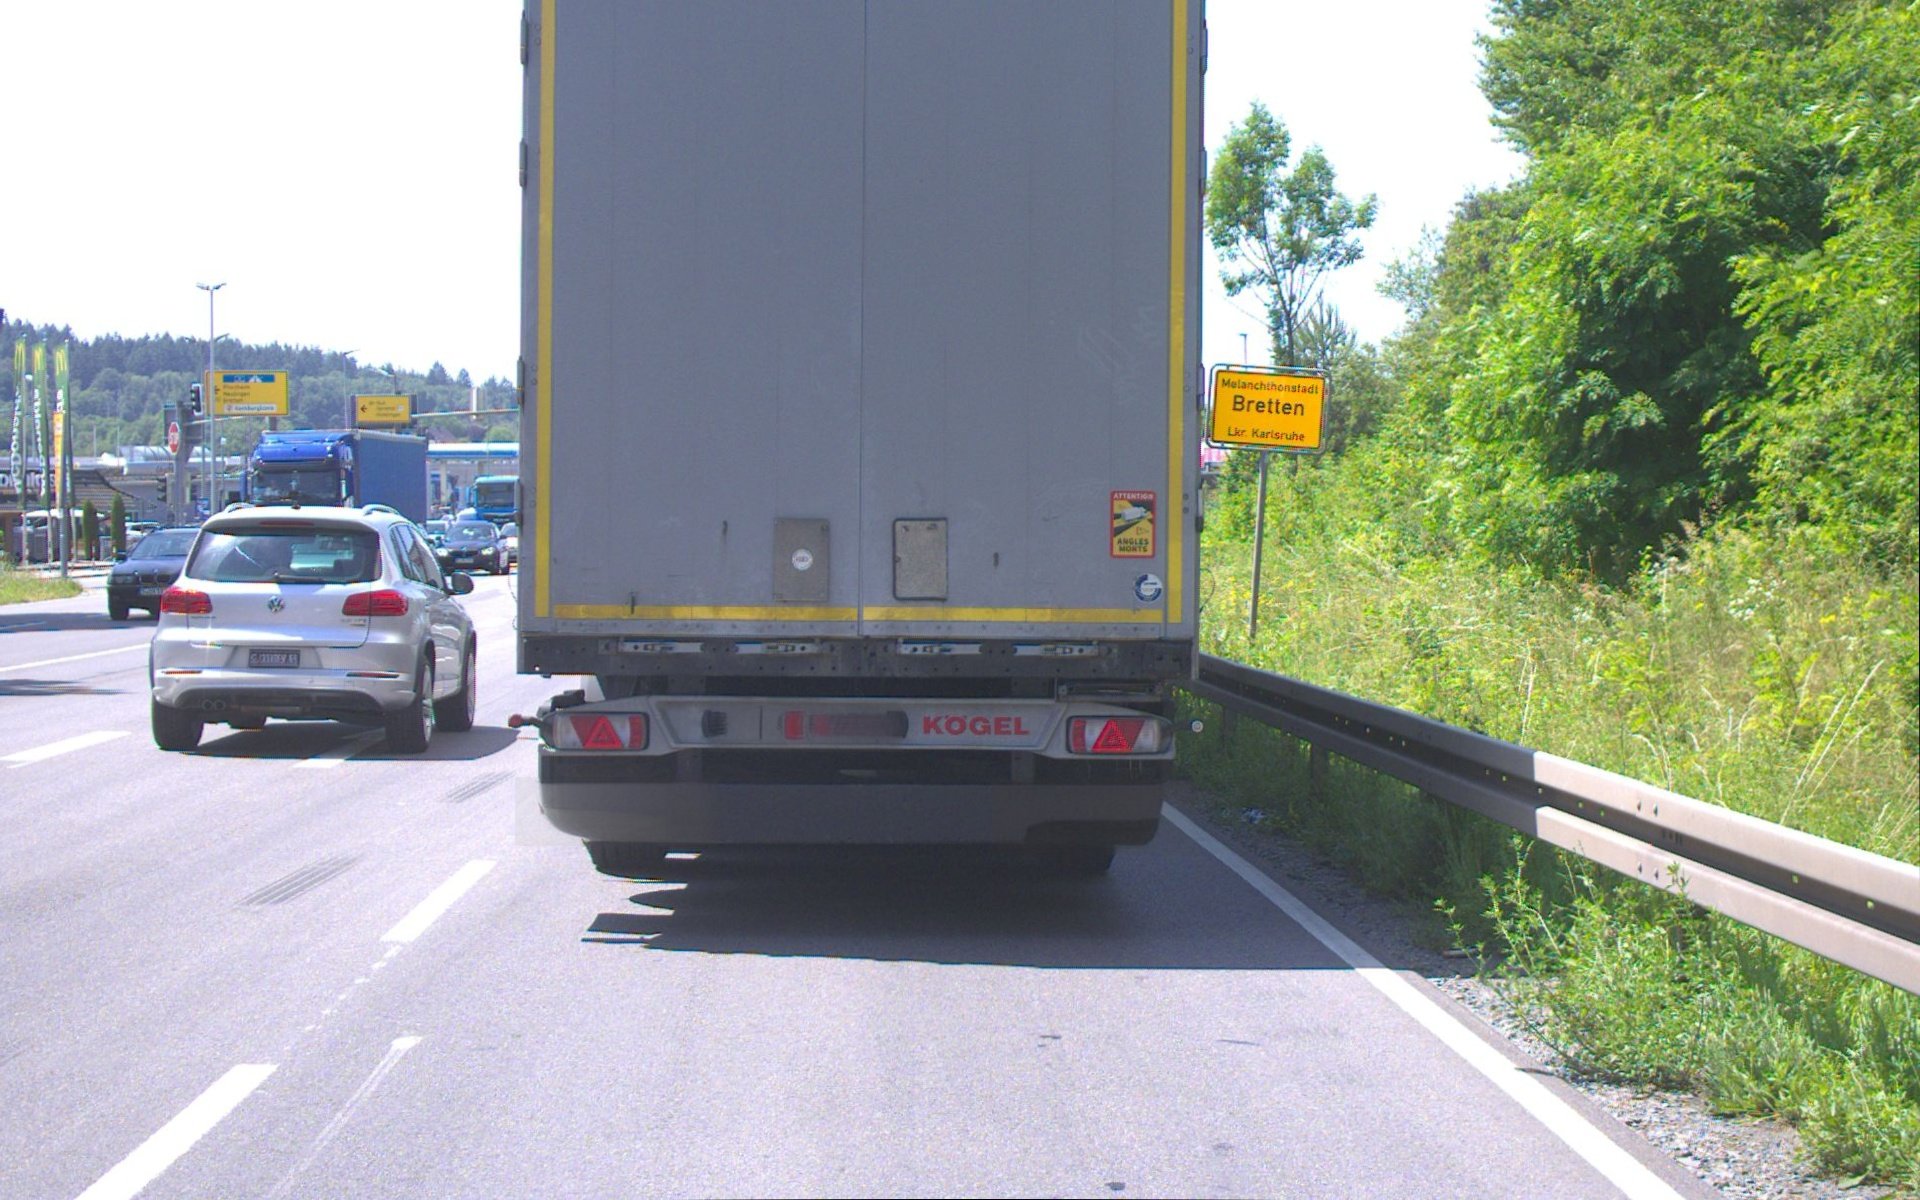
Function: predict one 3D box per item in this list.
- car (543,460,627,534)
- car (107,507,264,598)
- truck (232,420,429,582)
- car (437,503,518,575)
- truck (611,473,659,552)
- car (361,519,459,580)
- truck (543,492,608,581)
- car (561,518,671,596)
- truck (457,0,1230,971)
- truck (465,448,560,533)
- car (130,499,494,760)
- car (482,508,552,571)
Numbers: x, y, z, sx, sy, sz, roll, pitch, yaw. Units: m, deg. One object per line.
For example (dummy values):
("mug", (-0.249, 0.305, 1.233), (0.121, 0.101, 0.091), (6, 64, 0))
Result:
("car", (-10.823, -2.959, 99.458), (1.993, 2.007, 4.000), (1, 0, -1))
("car", (-12.507, -0.757, 55.749), (1.766, 1.381, 4.000), (1, 0, -2))
("truck", (-17.536, -2.720, 97.064), (2.968, 4.162, 16.576), (0, 1, -2))
("car", (-13.667, -1.737, 97.497), (1.773, 2.007, 4.000), (0, 1, -1))
("truck", (-19.927, -5.321, 210.419), (2.538, 4.611, 10.836), (1, 0, -7))
("car", (-13.314, -1.251, 83.454), (1.641, 1.433, 4.017), (0, 1, 1))
("truck", (-19.749, -3.237, 175.884), (3.145, 4.334, 17.546), (0, 1, -7))
("car", (-6.344, -0.806, 63.717), (1.686, 1.393, 4.403), (0, 1, -1))
("truck", (-0.501, -1.043, 20.894), (2.755, 4.623, 16.656), (1, 0, -1))
("truck", (-18.234, -4.404, 140.611), (2.846, 3.340, 11.483), (0, 1, -2))
("car", (-4.507, 0.144, 24.516), (1.804, 1.664, 4.292), (1, 1, -1))
("car", (-14.194, -1.944, 110.278), (1.773, 2.007, 4.000), (0, 1, -1))
